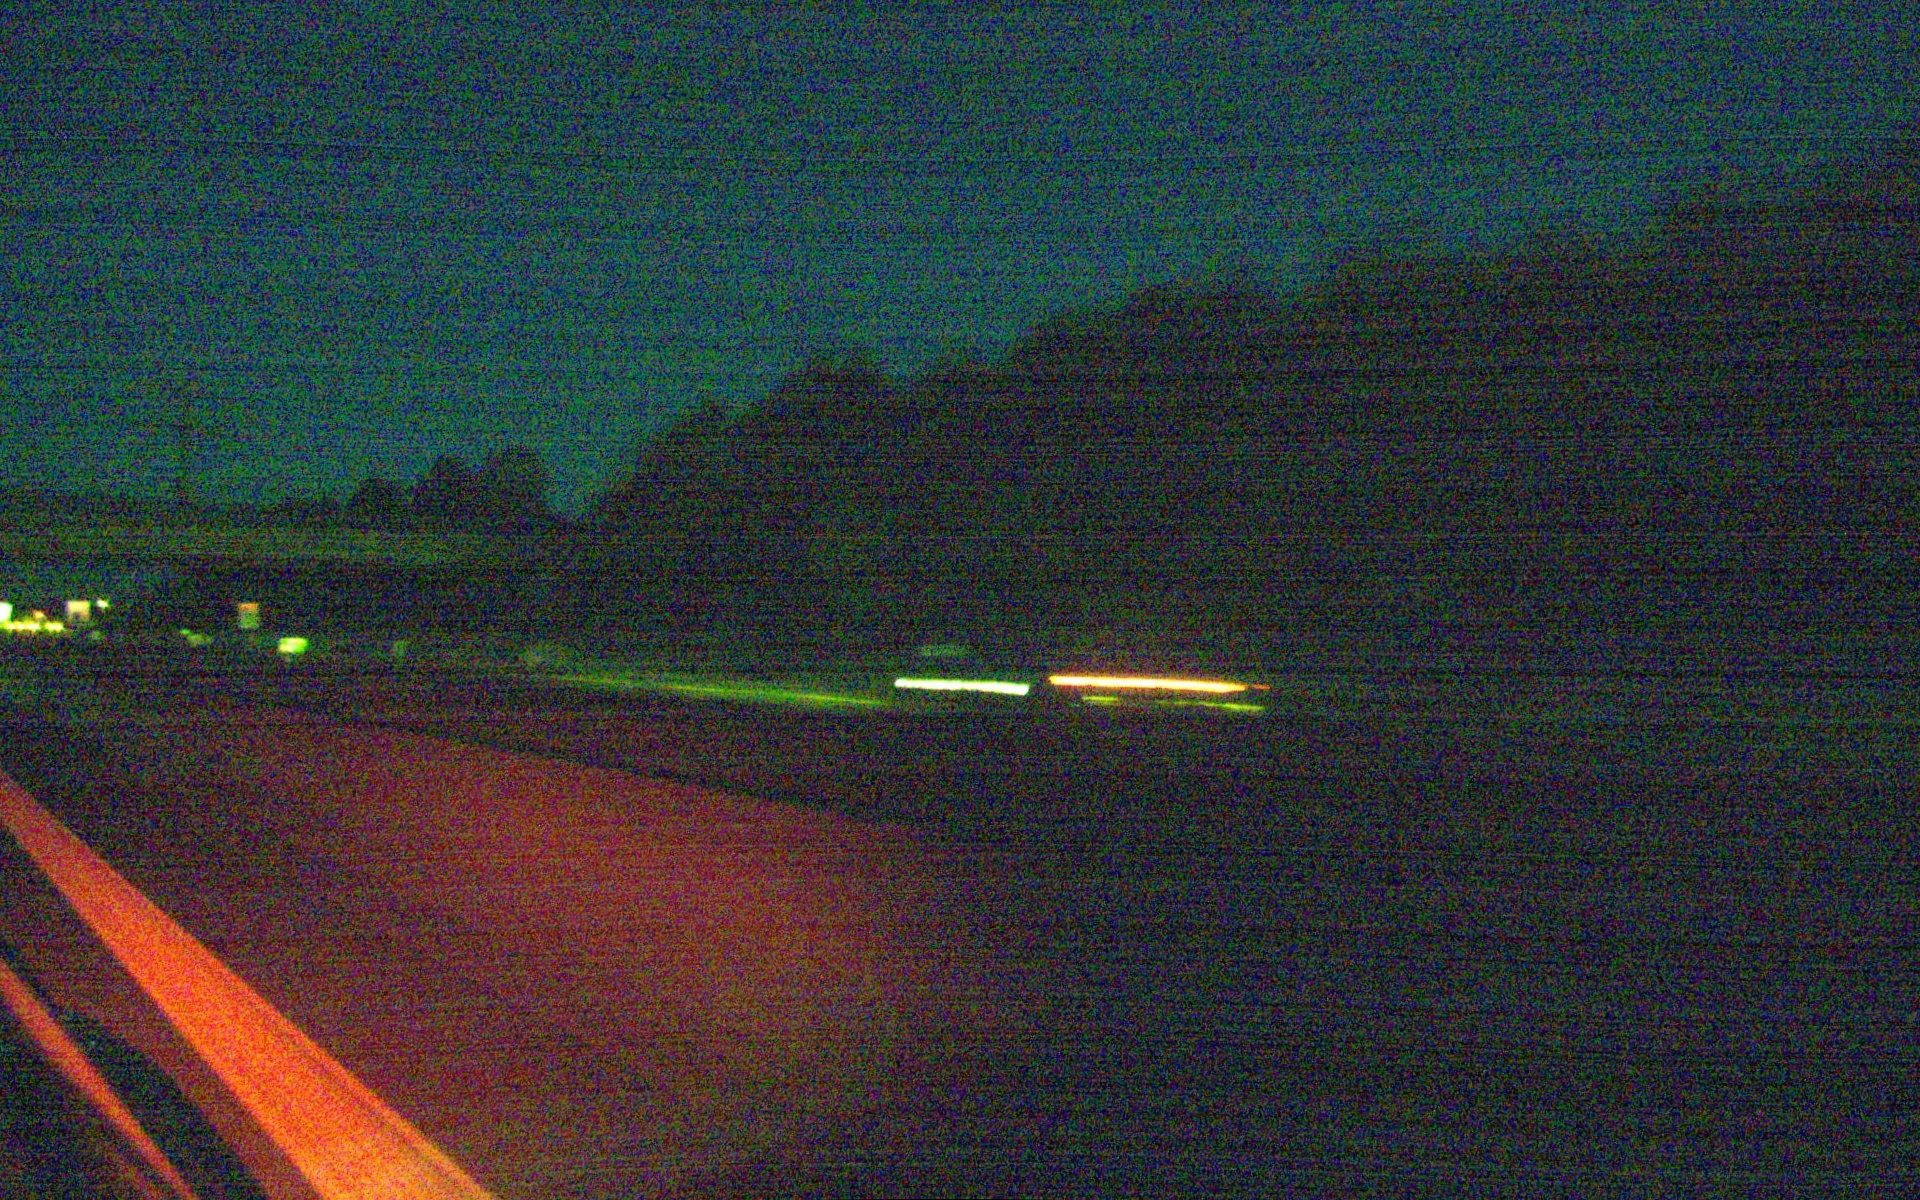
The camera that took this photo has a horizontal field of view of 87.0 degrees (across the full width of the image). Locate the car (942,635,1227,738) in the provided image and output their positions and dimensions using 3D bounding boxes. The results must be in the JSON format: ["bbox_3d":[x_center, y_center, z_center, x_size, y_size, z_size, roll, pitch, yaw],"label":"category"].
[{"bbox_3d":[2.009,1.399,17.170,4.556,1.477,1.802,-1,-5,40],"label":"car"}]
